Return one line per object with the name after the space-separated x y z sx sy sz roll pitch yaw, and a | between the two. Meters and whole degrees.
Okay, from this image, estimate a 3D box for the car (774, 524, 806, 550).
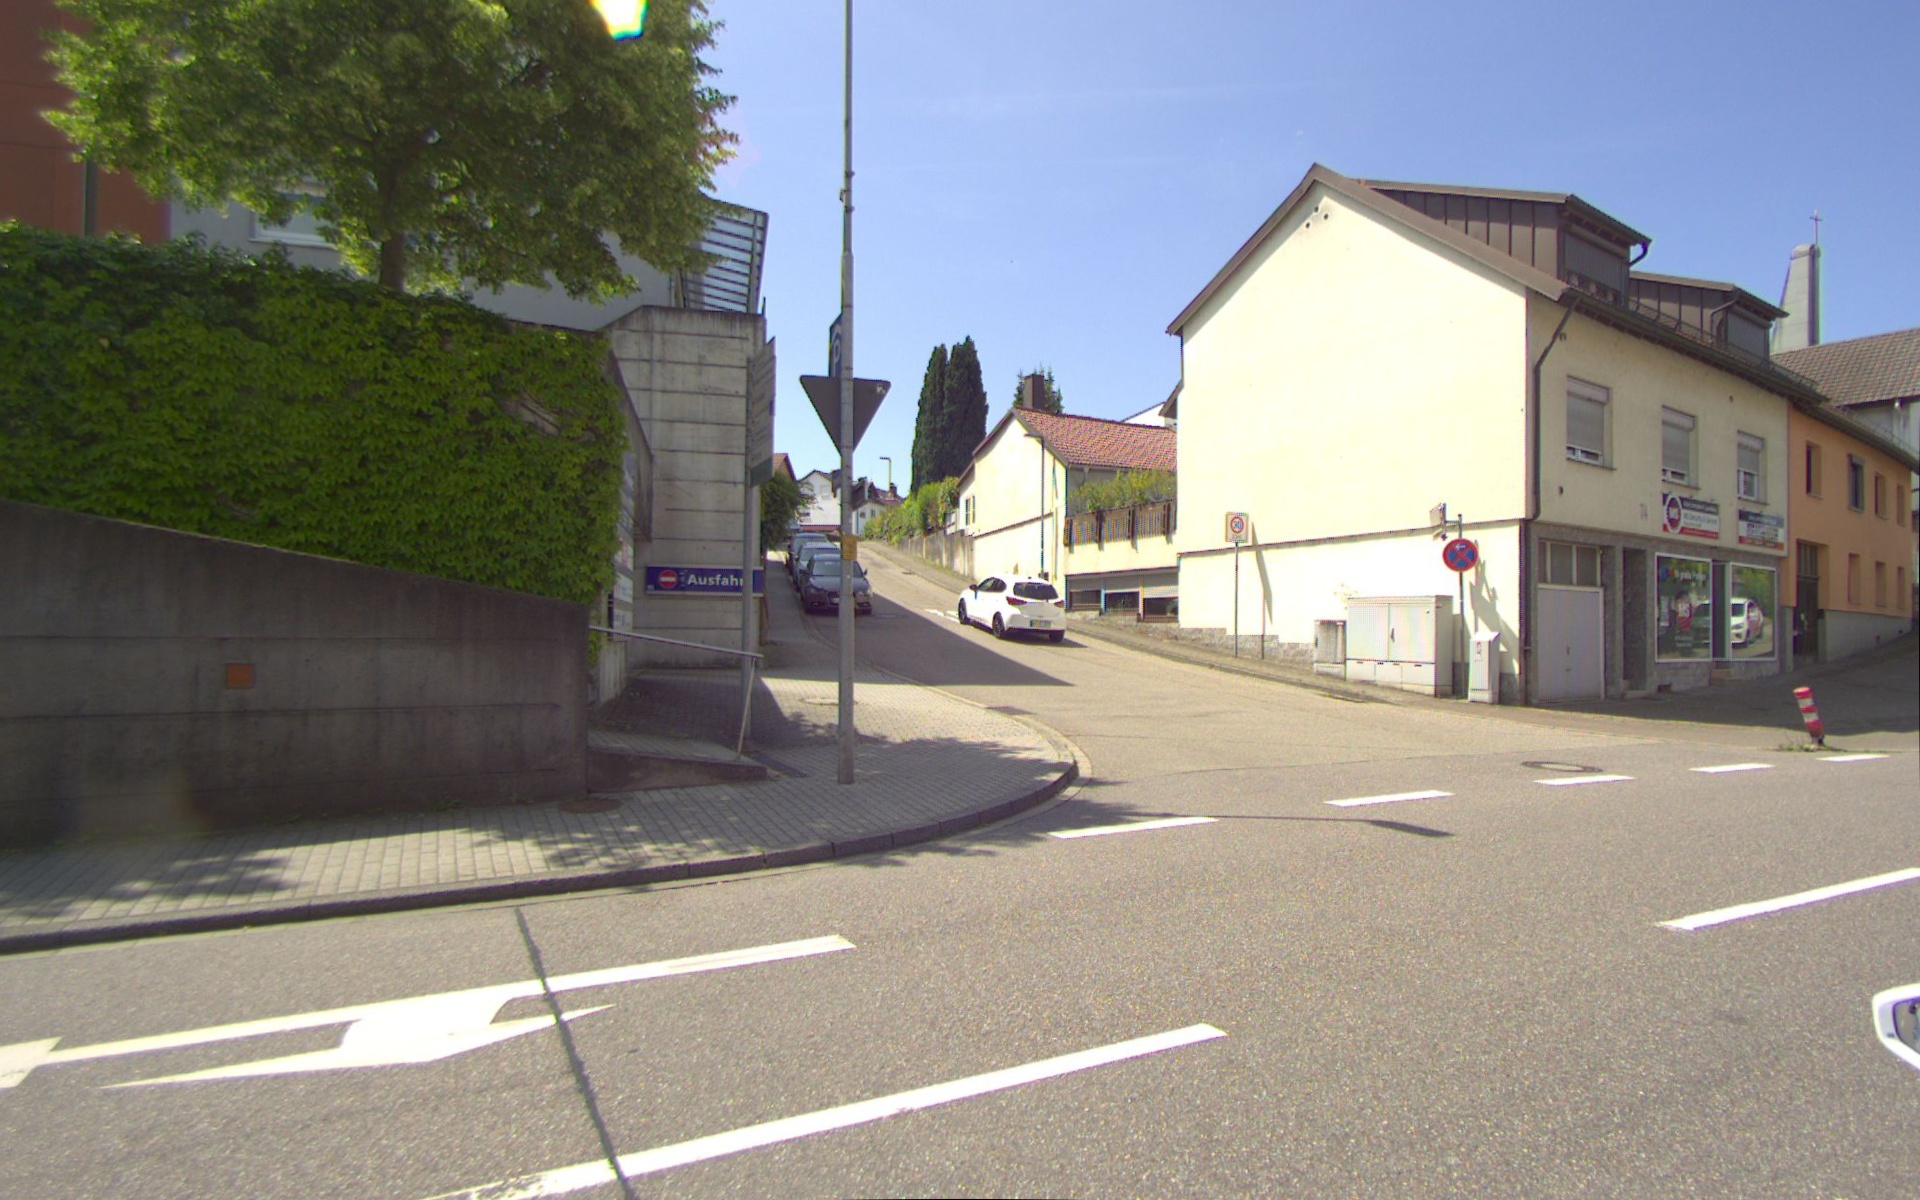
-10.845 -4.017 64.057 1.964 1.441 4.495 1 6 -10 | car

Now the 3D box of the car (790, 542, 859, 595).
-4.695 -1.129 34.298 1.965 1.441 4.493 1 6 -12 | car

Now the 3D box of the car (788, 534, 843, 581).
-5.849 -1.735 40.315 1.857 1.582 4.493 1 6 -12 | car

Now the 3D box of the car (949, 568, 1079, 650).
1.245 0.167 25.099 1.786 1.487 3.982 3 6 -19 | car

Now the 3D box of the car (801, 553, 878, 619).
-3.456 -0.463 28.152 1.727 1.441 4.493 1 6 -12 | car
